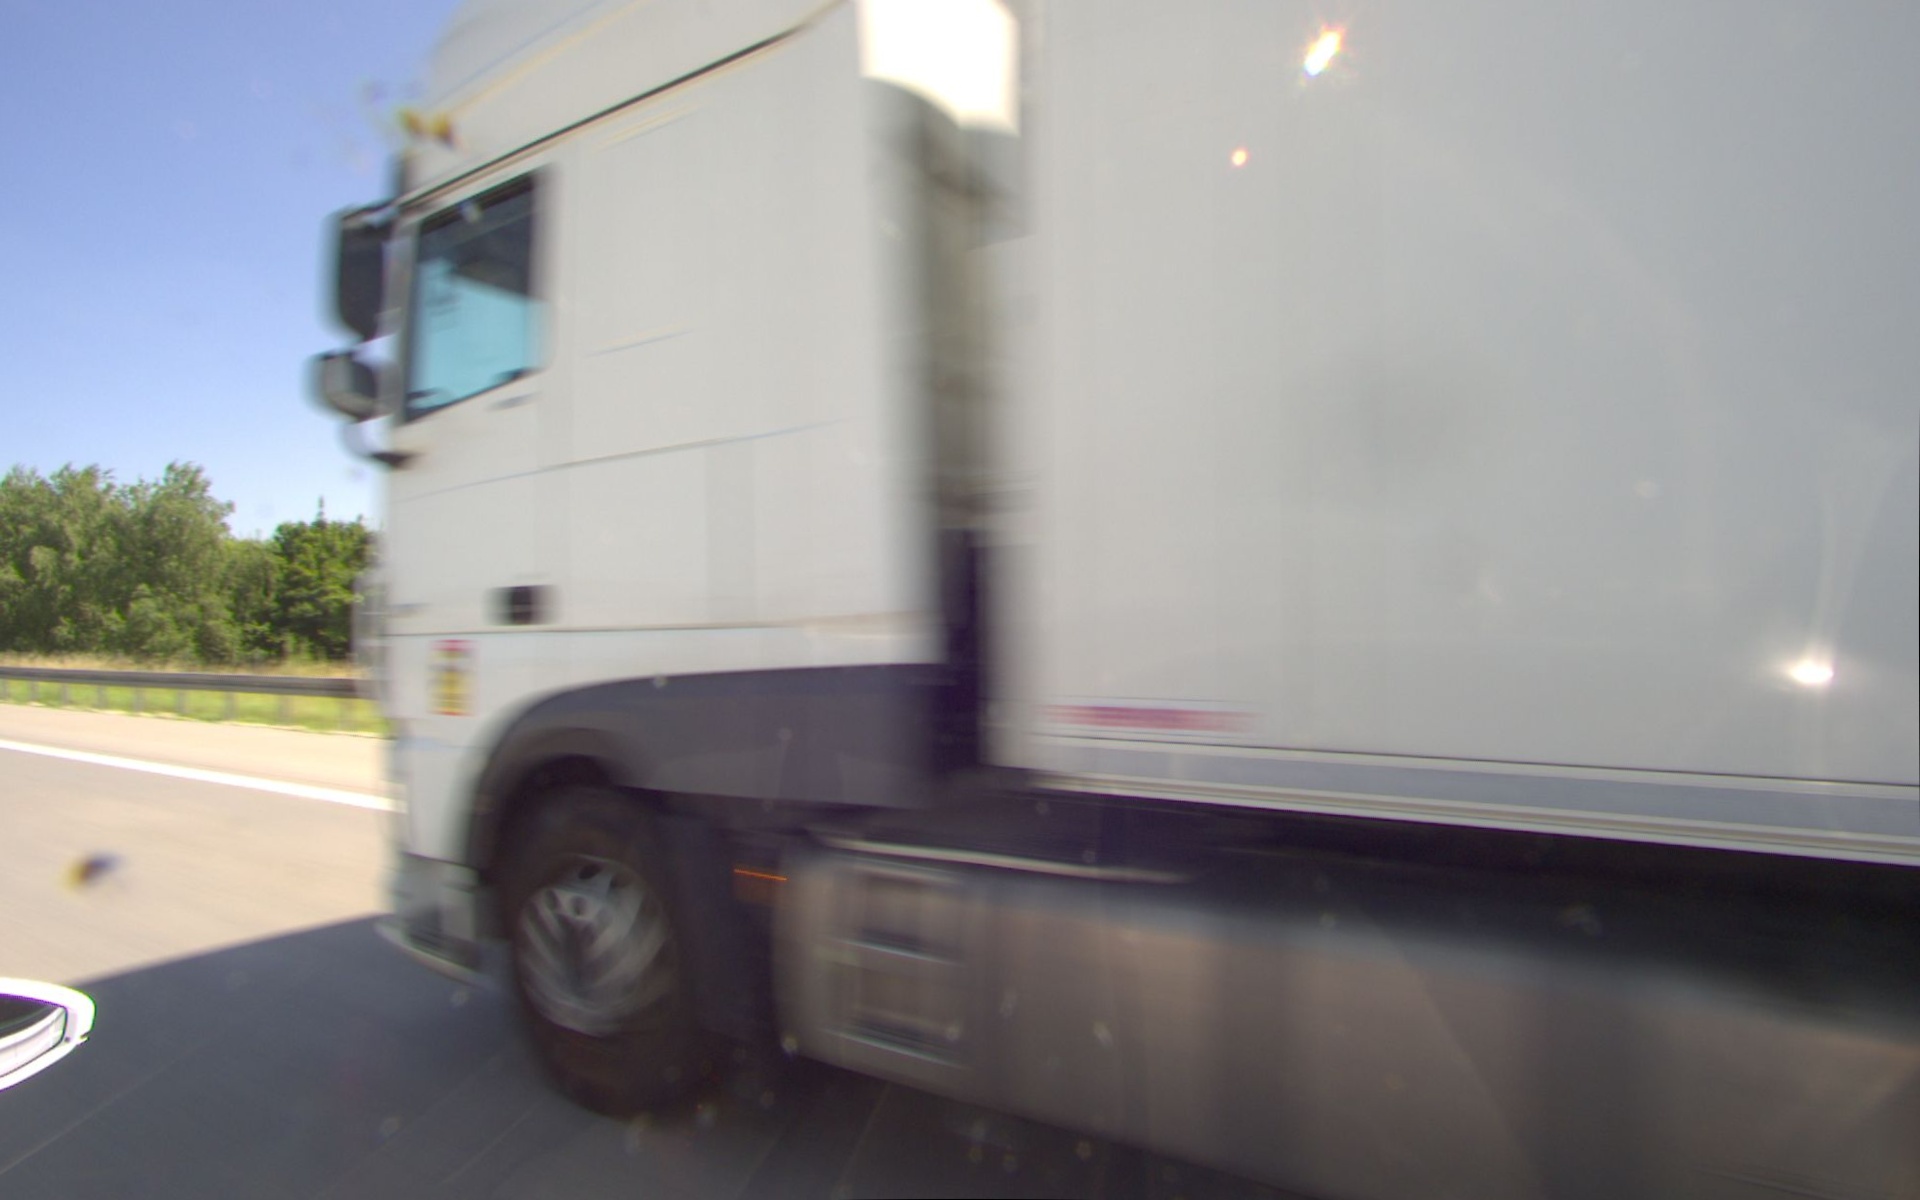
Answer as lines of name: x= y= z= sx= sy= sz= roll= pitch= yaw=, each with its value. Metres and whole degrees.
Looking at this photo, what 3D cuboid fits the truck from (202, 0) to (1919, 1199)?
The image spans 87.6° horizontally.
truck: x=0.161 y=-0.511 z=3.613 sx=5.715 sy=4.141 sz=2.807 roll=-1 pitch=-1 yaw=32
